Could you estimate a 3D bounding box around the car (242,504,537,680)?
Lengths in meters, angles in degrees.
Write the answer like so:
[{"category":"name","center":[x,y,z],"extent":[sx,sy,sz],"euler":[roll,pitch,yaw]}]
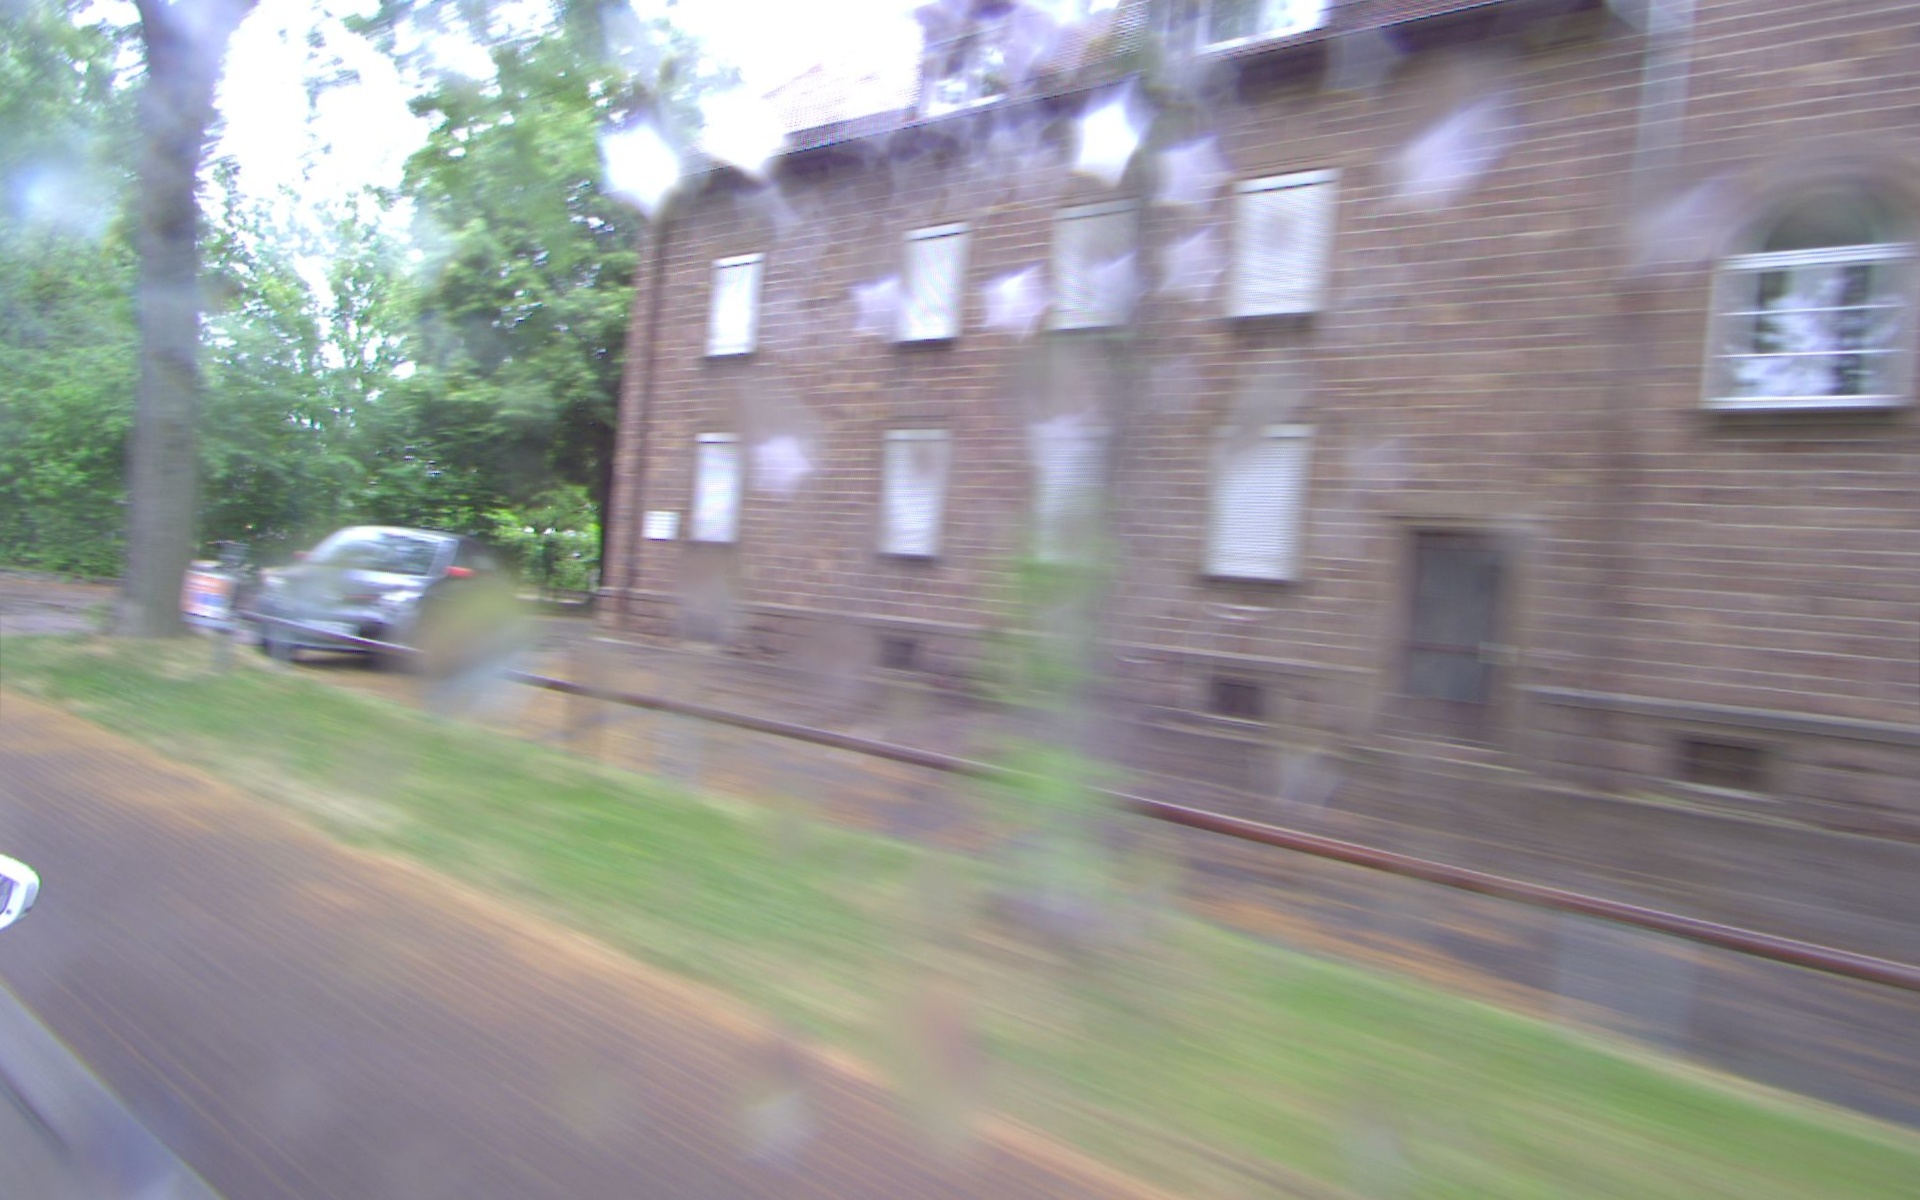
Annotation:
[{"category":"car","center":[-6.426,-0.067,11.813],"extent":[1.593,1.570,3.610],"euler":[6,-1,-6]}]
